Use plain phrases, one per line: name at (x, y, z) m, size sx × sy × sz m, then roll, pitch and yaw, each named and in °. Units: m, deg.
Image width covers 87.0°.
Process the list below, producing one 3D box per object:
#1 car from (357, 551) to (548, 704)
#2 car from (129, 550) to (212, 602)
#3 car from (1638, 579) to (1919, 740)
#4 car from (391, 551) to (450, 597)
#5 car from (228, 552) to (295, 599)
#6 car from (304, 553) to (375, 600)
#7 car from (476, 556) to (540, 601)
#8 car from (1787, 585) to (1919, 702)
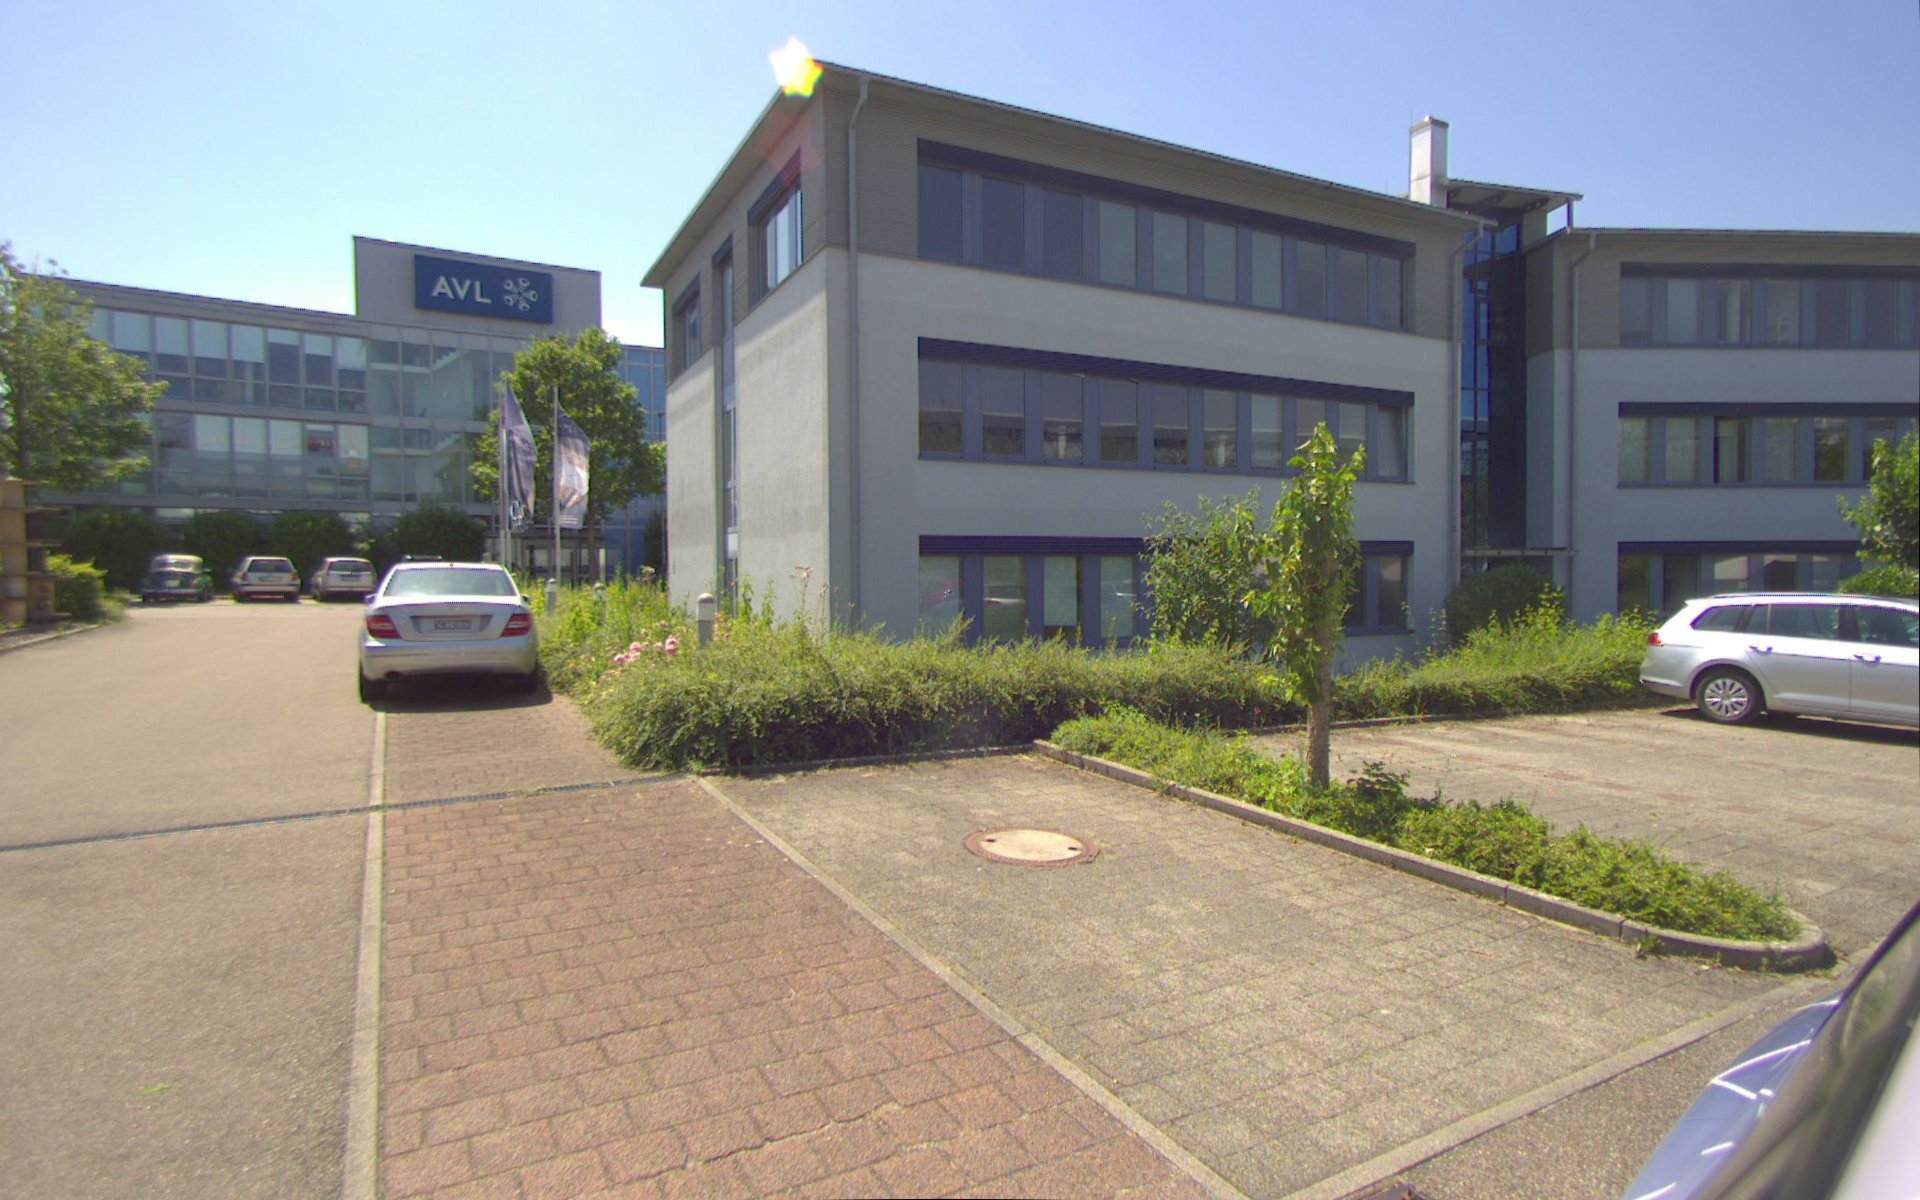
car at (-5.913, 0.225, 11.695) m, size 1.695 × 1.454 × 3.721 m, roll 0°, pitch 1°, yaw -29°
car at (-24.890, -0.745, 32.024) m, size 1.716 × 1.538 × 4.002 m, roll 0°, pitch 1°, yaw -33°
car at (9.963, 0.586, 10.498) m, size 1.793 × 1.515 × 4.525 m, roll 0°, pitch 2°, yaw -31°
car at (-19.302, -0.902, 36.121) m, size 1.715 × 1.538 × 4.004 m, roll 0°, pitch 1°, yaw -30°
car at (-23.099, -0.788, 33.419) m, size 1.643 × 1.458 × 3.998 m, roll 0°, pitch 1°, yaw -37°
car at (-21.529, -0.801, 35.063) m, size 1.717 × 1.538 × 3.998 m, roll 0°, pitch 1°, yaw -37°
car at (-16.657, -0.785, 37.194) m, size 1.715 × 1.538 × 4.004 m, roll 0°, pitch 1°, yaw -30°
car at (12.915, 0.577, 12.505) m, size 1.619 × 1.408 × 3.831 m, roll 0°, pitch 2°, yaw -31°
